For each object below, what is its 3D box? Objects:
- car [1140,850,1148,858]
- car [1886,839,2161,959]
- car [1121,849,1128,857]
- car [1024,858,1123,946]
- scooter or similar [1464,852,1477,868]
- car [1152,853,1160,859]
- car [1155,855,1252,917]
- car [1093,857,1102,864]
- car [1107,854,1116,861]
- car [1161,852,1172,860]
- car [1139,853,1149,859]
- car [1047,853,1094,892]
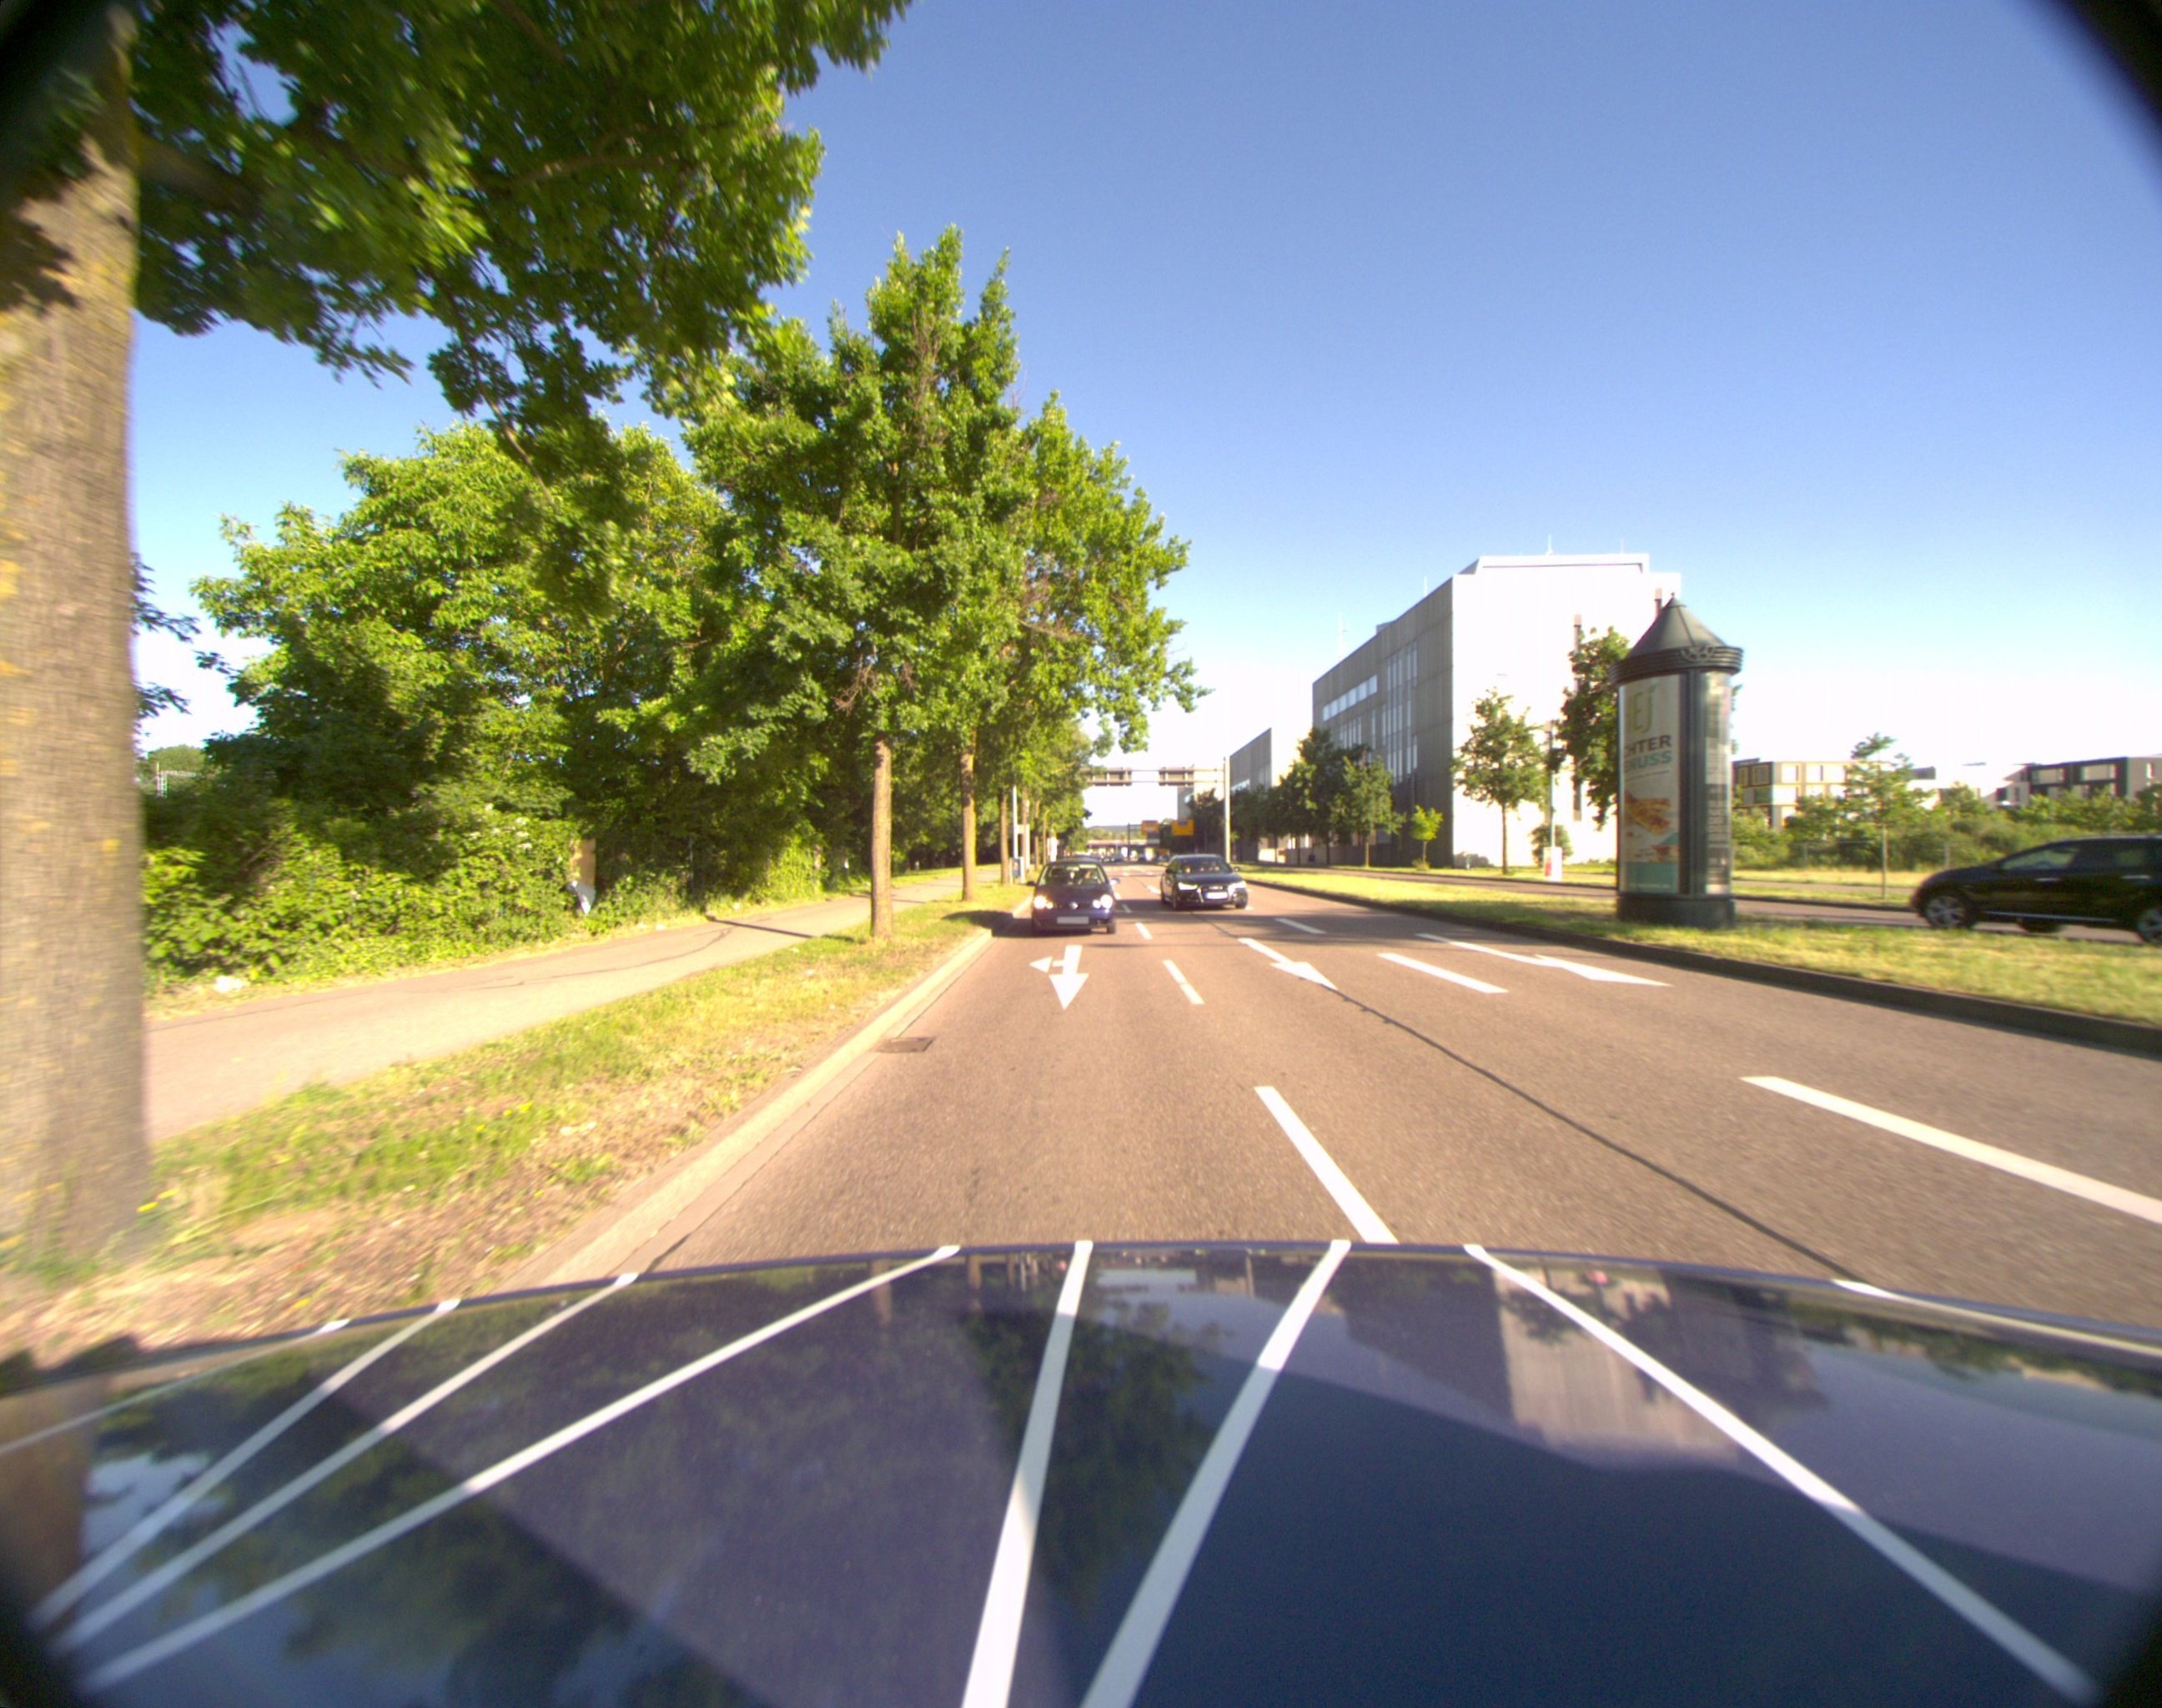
[{"bbox_3d":[18.241,0.029,220.234,1.998,2.172,4.000,0,1,1],"label":"car"},{"bbox_3d":[16.517,0.625,12.266,1.998,1.729,4.737,0,1,0],"label":"car"},{"bbox_3d":[14.839,-0.304,259.774,1.998,2.468,4.570,0,1,1],"label":"car"},{"bbox_3d":[-0.014,0.893,16.150,1.636,1.459,4.547,-2,1,5],"label":"car"},{"bbox_3d":[27.063,0.404,52.817,0.453,1.104,1.407,0,1,14],"label":"scooter or similar"},{"bbox_3d":[21.920,0.562,220.954,1.998,1.582,4.000,0,1,1],"label":"car"},{"bbox_3d":[3.264,0.790,21.224,1.797,1.435,5.016,-1,0,-1],"label":"car"},{"bbox_3d":[4.058,1.548,185.028,1.998,1.678,4.001,0,0,4],"label":"car"},{"bbox_3d":[7.479,0.953,186.080,1.998,1.678,4.001,0,0,4],"label":"car"},{"bbox_3d":[18.561,0.408,164.660,1.998,1.569,4.000,0,1,1],"label":"car"},{"bbox_3d":[15.266,0.505,184.743,1.998,1.569,4.000,0,1,1],"label":"car"},{"bbox_3d":[-0.393,0.766,33.552,1.756,1.446,4.000,-3,1,3],"label":"car"}]
